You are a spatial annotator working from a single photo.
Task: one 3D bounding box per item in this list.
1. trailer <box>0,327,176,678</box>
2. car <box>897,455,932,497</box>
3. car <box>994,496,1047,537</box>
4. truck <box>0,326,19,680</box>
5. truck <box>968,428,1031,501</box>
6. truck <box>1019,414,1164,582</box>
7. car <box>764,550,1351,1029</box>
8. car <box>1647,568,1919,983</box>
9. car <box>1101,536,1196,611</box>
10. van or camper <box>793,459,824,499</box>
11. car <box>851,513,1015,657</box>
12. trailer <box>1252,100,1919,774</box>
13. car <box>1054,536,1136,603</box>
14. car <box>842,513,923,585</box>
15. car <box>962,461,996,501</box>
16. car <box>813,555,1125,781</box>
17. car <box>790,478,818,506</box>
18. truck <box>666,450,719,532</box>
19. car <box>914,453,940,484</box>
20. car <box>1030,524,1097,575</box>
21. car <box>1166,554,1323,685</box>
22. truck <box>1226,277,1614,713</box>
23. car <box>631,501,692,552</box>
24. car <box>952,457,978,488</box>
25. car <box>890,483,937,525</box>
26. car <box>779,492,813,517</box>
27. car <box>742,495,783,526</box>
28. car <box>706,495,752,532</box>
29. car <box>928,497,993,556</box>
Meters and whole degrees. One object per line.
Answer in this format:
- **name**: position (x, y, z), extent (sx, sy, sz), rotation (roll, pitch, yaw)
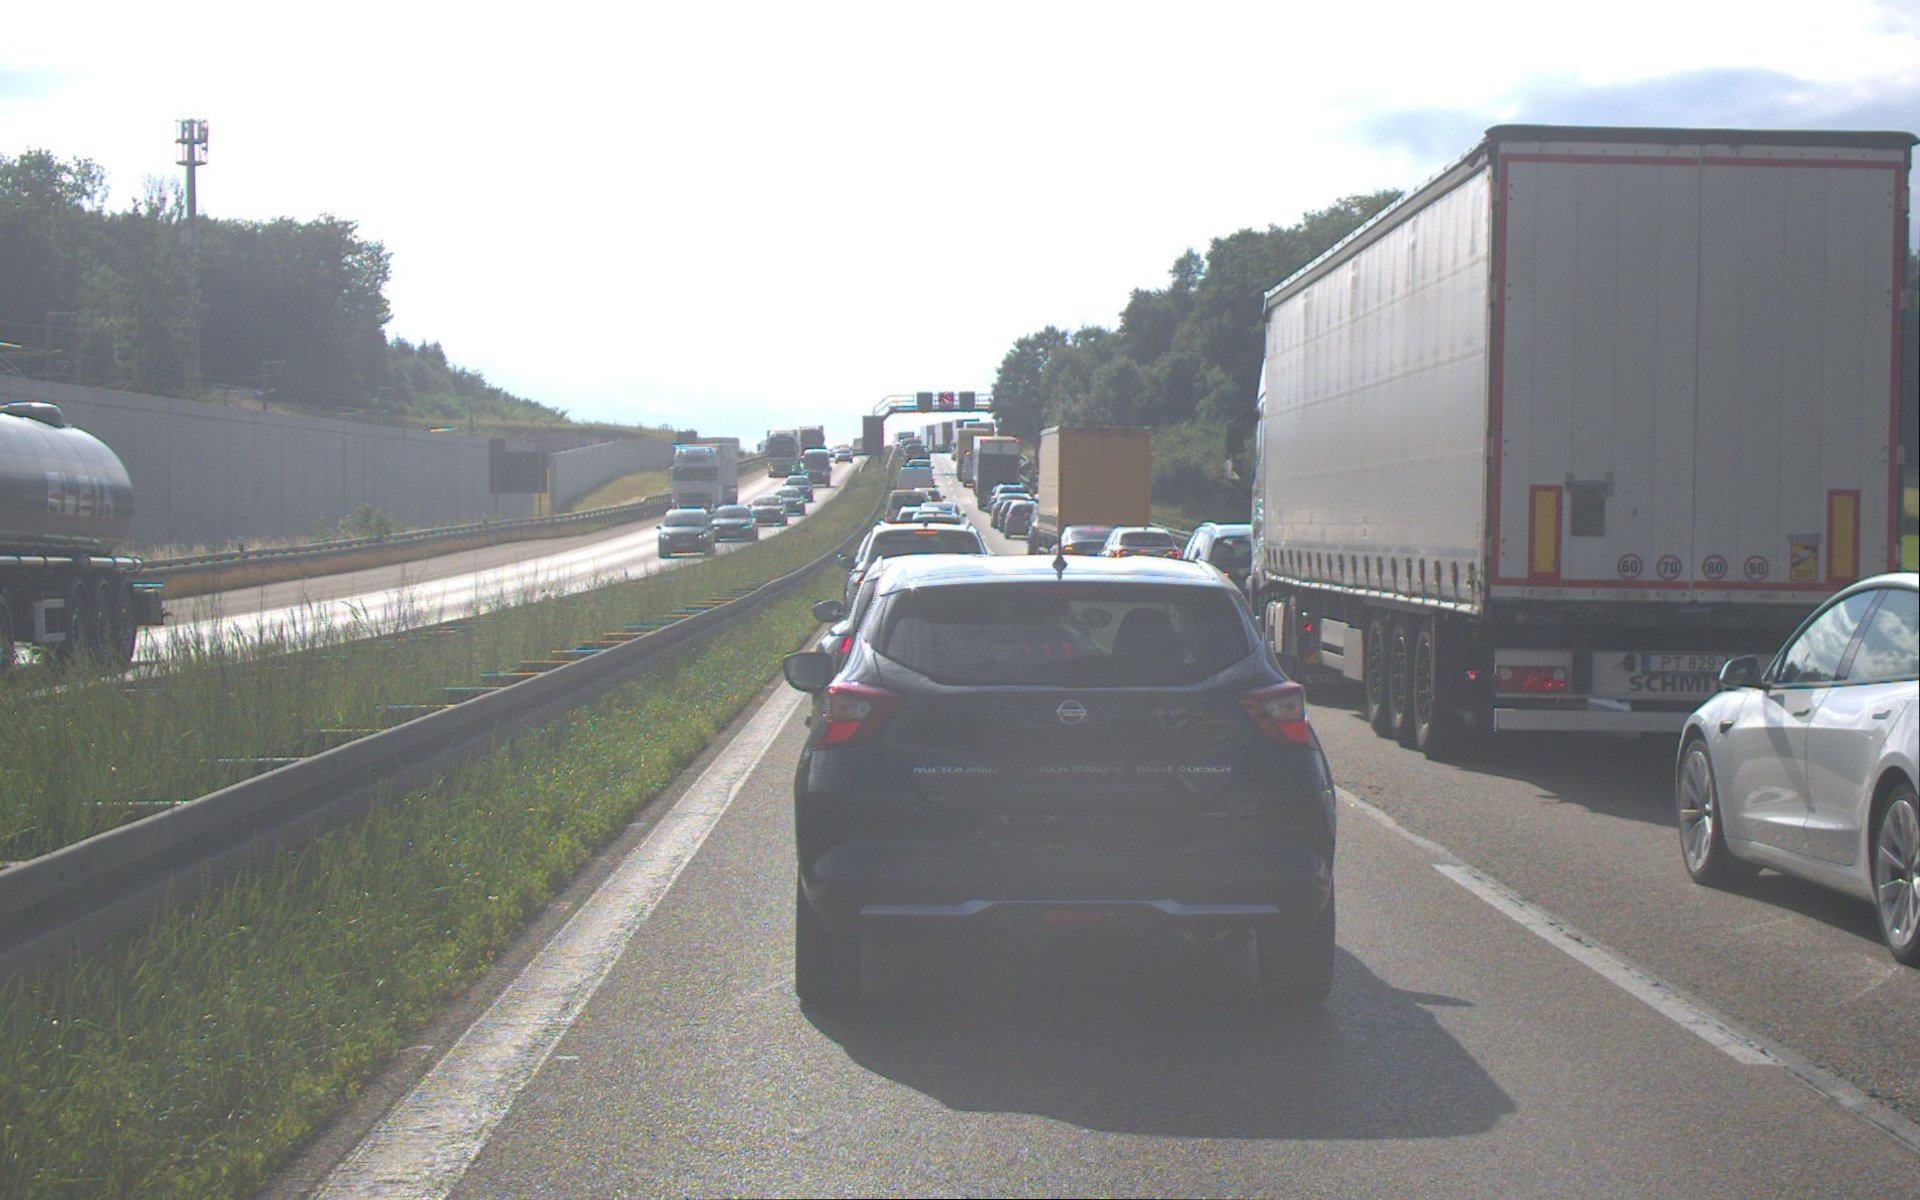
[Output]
- **trailer**: position (-11.977, -1.105, 41.605), extent (2.588, 3.888, 10.865), rotation (-1, 1, -1)
- **car**: position (-2.478, -6.730, 186.043), extent (1.873, 2.151, 5.212), rotation (0, 4, -1)
- **car**: position (2.505, -3.495, 143.129), extent (1.873, 1.638, 4.233), rotation (0, 2, -4)
- **truck**: position (-11.851, -1.016, 35.691), extent (2.582, 3.909, 5.722), rotation (-1, 1, -1)
- **truck**: position (2.533, -8.871, 225.701), extent (3.464, 4.561, 12.443), rotation (1, 2, -2)
- **truck**: position (3.718, -2.833, 100.642), extent (3.296, 4.562, 12.442), rotation (1, 0, -2)
- **car**: position (0.280, 0.545, 12.515), extent (1.773, 1.446, 4.232), rotation (0, 1, 0)
- **car**: position (4.122, 0.594, 13.453), extent (1.788, 1.389, 4.437), rotation (0, 1, -3)
- **car**: position (4.235, -0.616, 77.749), extent (1.873, 1.638, 4.232), rotation (0, 1, 0)
- **van or camper**: position (-11.451, -9.138, 259.754), extent (2.090, 2.810, 5.896), rotation (1, 0, -1)
- **car**: position (-0.326, -0.197, 41.332), extent (1.873, 1.638, 4.232), rotation (0, 1, 0)
- **trailer**: position (4.476, -0.969, 27.235), extent (3.130, 3.997, 13.366), rotation (1, 0, 0)
- **car**: position (3.409, -0.798, 87.201), extent (1.873, 1.638, 4.232), rotation (0, 1, 0)
- **car**: position (-1.822, -1.239, 82.109), extent (1.873, 1.638, 4.233), rotation (0, 2, 0)
- **car**: position (1.068, -6.940, 200.013), extent (1.873, 2.151, 5.212), rotation (0, 4, -1)
- **car**: position (0.037, 0.381, 22.790), extent (1.873, 1.353, 4.232), rotation (0, 1, 0)
- **car**: position (-9.993, -6.932, 220.645), extent (1.708, 1.700, 4.174), rotation (0, 1, -1)
- **truck**: position (-14.046, -5.709, 180.790), extent (2.380, 4.167, 5.932), rotation (-1, 1, -1)
- **car**: position (-2.450, -9.624, 251.671), extent (1.873, 2.151, 5.212), rotation (0, 4, -1)
- **car**: position (3.356, -1.656, 111.880), extent (1.873, 1.638, 4.233), rotation (0, 1, -2)
- **car**: position (3.624, 0.207, 44.387), extent (1.697, 1.605, 4.437), rotation (0, 1, 1)
- **truck**: position (4.455, -0.975, 34.388), extent (3.133, 4.002, 5.163), rotation (1, 0, 0)
- **car**: position (-10.359, -2.528, 119.375), extent (1.781, 1.731, 4.102), rotation (0, 1, 0)
- **car**: position (0.377, -9.503, 255.178), extent (1.873, 2.151, 5.212), rotation (0, 4, -1)
- **car**: position (-1.930, -3.980, 142.098), extent (1.873, 1.638, 4.233), rotation (0, 2, -2)
- **car**: position (-9.148, -5.326, 191.639), extent (1.742, 1.353, 4.232), rotation (0, 1, 0)
- **car**: position (-9.820, -4.466, 171.101), extent (1.769, 1.474, 3.829), rotation (0, 1, 0)
- **car**: position (-9.550, -3.578, 142.530), extent (1.697, 1.494, 4.427), rotation (0, 1, -1)
- **car**: position (0.001, -2.189, 101.806), extent (1.873, 1.638, 4.233), rotation (0, 2, 0)
